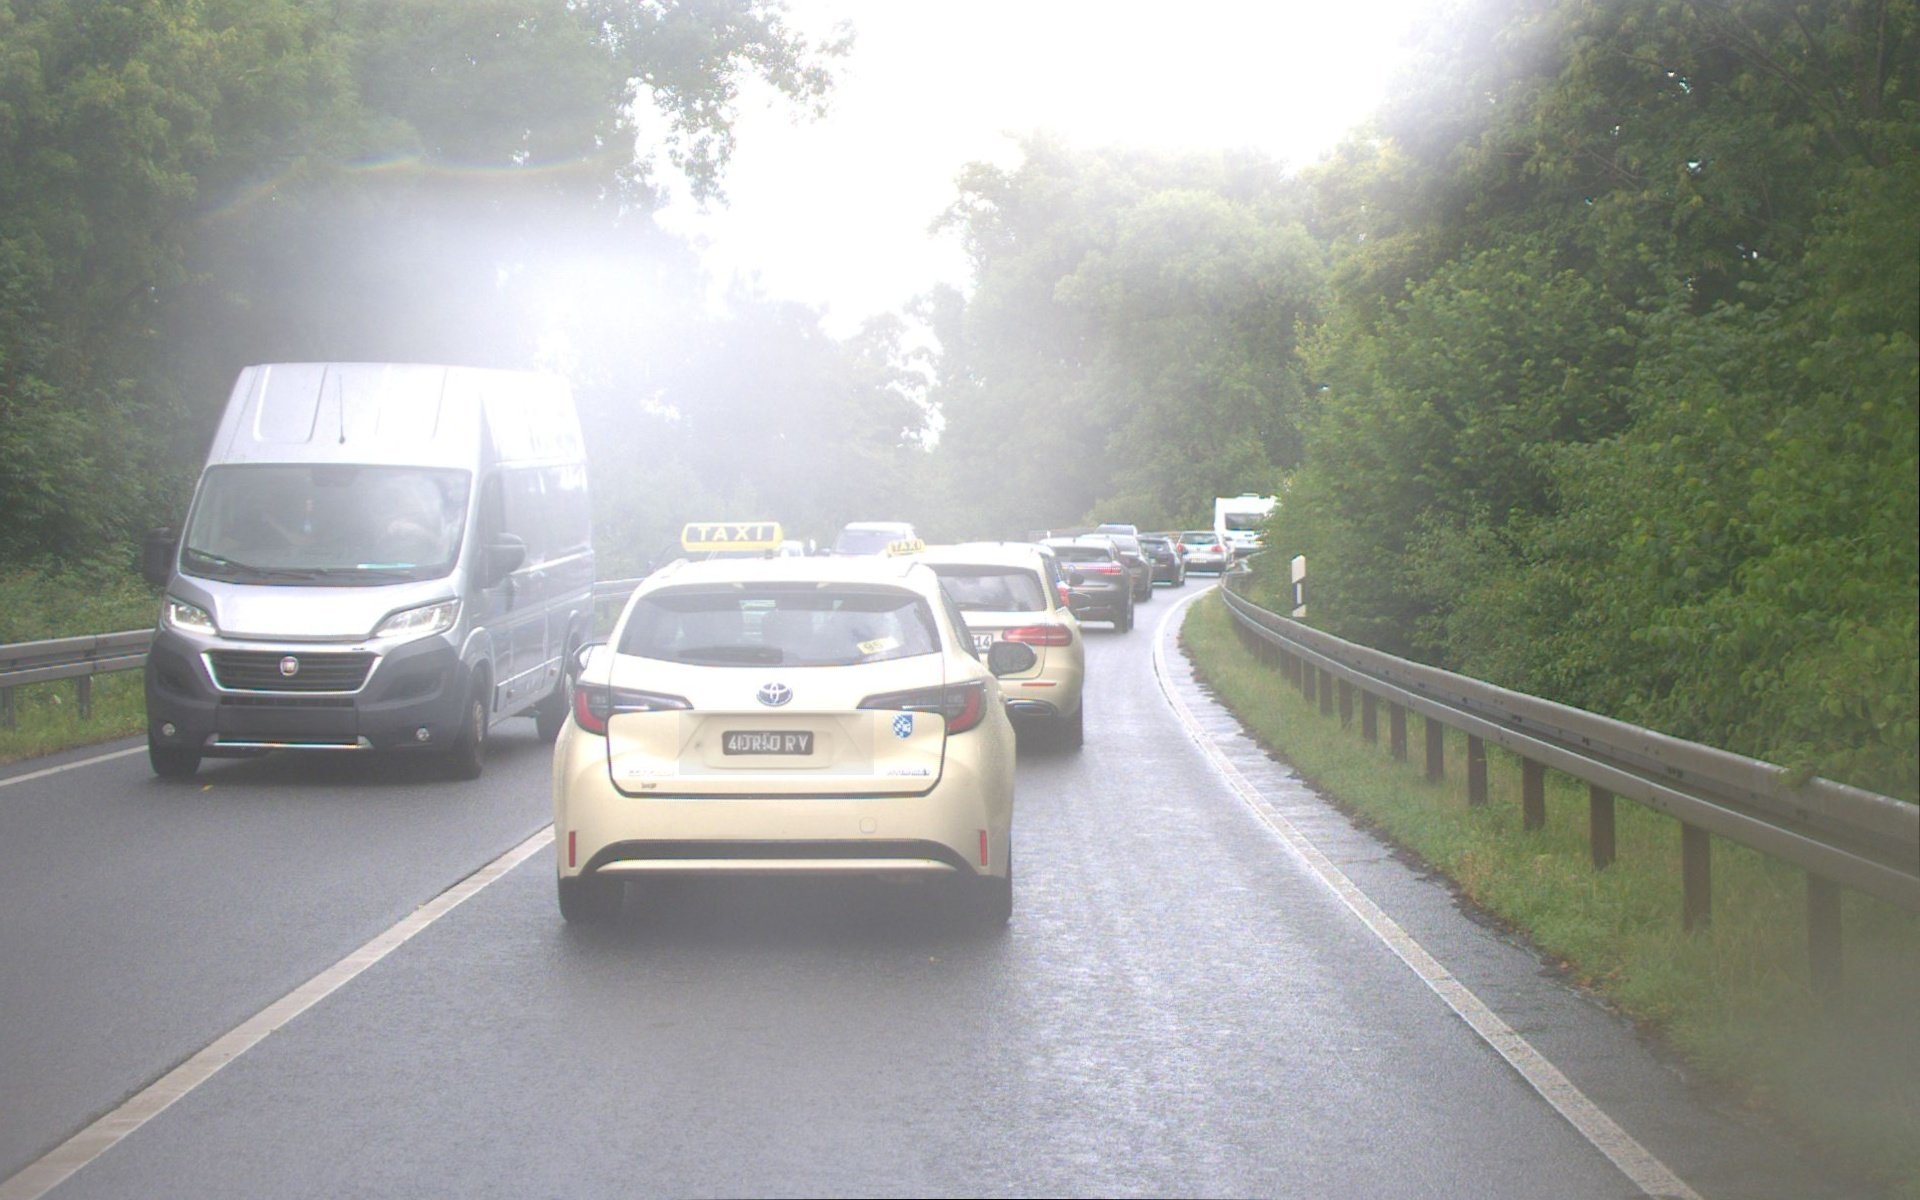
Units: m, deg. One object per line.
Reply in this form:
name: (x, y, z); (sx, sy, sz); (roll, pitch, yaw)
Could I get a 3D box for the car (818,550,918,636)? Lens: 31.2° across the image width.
car: (-1.862, -0.150, 70.827); (1.815, 1.680, 4.622); (1, 0, 1)

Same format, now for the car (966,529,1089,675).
car: (0.745, 0.011, 38.488); (1.300, 1.541, 3.260); (1, 0, 1)

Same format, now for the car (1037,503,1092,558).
car: (4.019, -2.641, 131.787); (1.994, 2.007, 4.000); (1, 0, 3)

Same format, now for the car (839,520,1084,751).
car: (0.055, 0.231, 25.678); (1.667, 1.575, 3.892); (1, 0, 1)

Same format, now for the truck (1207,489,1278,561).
truck: (11.099, -2.918, 135.579); (2.550, 2.704, 7.534); (1, 0, 3)

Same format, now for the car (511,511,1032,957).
car: (-0.635, 0.466, 14.420); (1.834, 1.575, 4.156); (1, 0, 1)

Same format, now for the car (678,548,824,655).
car: (-2.904, 0.007, 48.434); (1.728, 1.426, 3.849); (1, 0, 1)

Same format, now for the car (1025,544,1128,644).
car: (1.887, -0.099, 55.548); (1.611, 1.541, 3.814); (0, 0, 2)

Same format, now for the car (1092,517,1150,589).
car: (3.530, -1.032, 75.761); (1.167, 1.541, 2.604); (1, 0, 1)

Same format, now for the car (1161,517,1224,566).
car: (7.586, -1.887, 112.066); (1.770, 1.541, 3.813); (1, 0, 8)

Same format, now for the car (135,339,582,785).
car: (-3.956, -0.248, 23.758); (2.047, 2.667, 6.172); (0, 0, 0)

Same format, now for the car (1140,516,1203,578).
car: (5.739, -1.421, 93.041); (1.616, 1.607, 3.621); (1, 0, 4)

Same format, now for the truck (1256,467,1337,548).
truck: (16.139, -4.387, 164.467); (3.108, 3.668, 6.996); (1, 0, 11)
